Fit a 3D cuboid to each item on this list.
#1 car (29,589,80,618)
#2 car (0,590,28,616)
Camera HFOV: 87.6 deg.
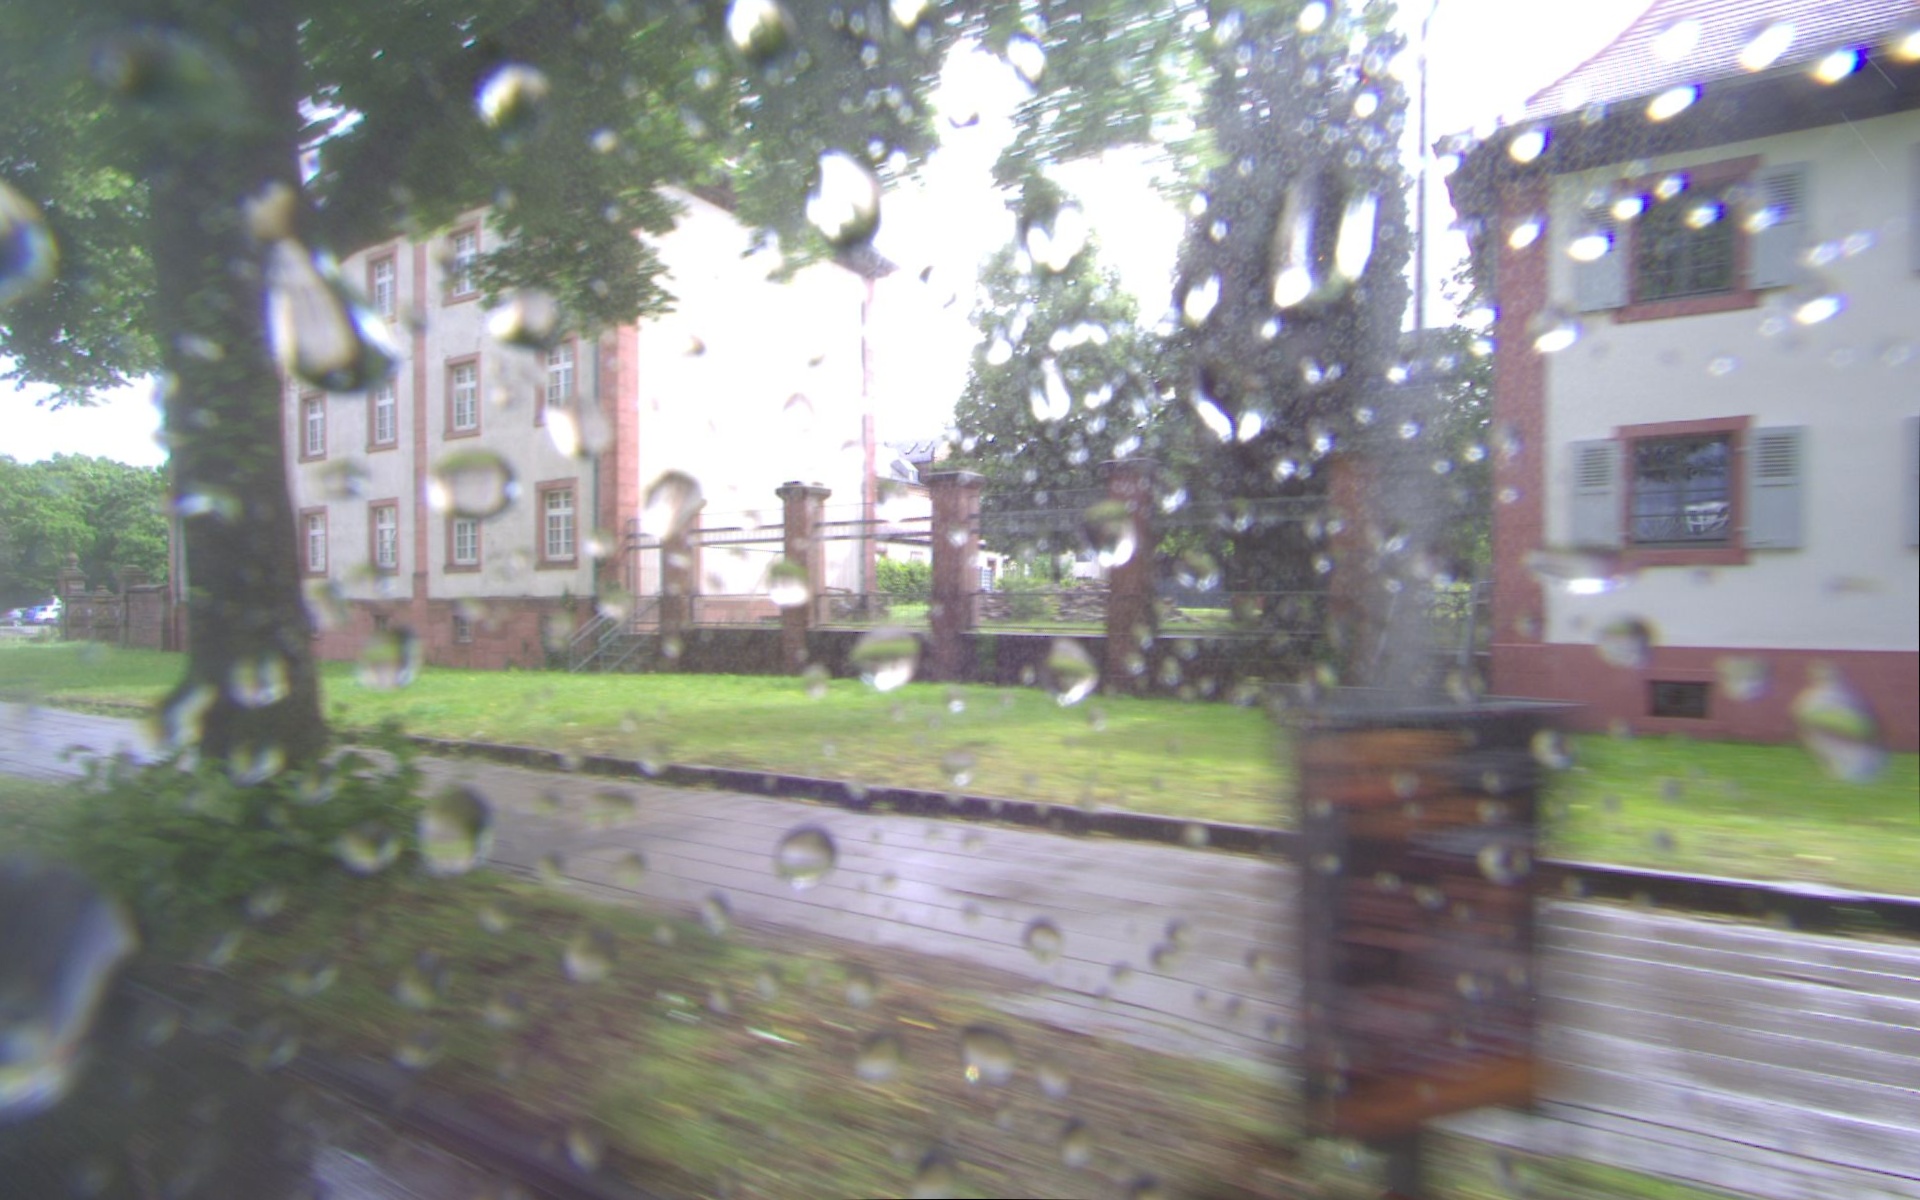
[{"bbox_3d":[-66.939,0.266,74.026,3.948,2.041,1.986,0,3,37],"label":"car"},{"bbox_3d":[-72.443,0.245,75.951,3.760,1.882,1.860,0,3,37],"label":"car"}]
